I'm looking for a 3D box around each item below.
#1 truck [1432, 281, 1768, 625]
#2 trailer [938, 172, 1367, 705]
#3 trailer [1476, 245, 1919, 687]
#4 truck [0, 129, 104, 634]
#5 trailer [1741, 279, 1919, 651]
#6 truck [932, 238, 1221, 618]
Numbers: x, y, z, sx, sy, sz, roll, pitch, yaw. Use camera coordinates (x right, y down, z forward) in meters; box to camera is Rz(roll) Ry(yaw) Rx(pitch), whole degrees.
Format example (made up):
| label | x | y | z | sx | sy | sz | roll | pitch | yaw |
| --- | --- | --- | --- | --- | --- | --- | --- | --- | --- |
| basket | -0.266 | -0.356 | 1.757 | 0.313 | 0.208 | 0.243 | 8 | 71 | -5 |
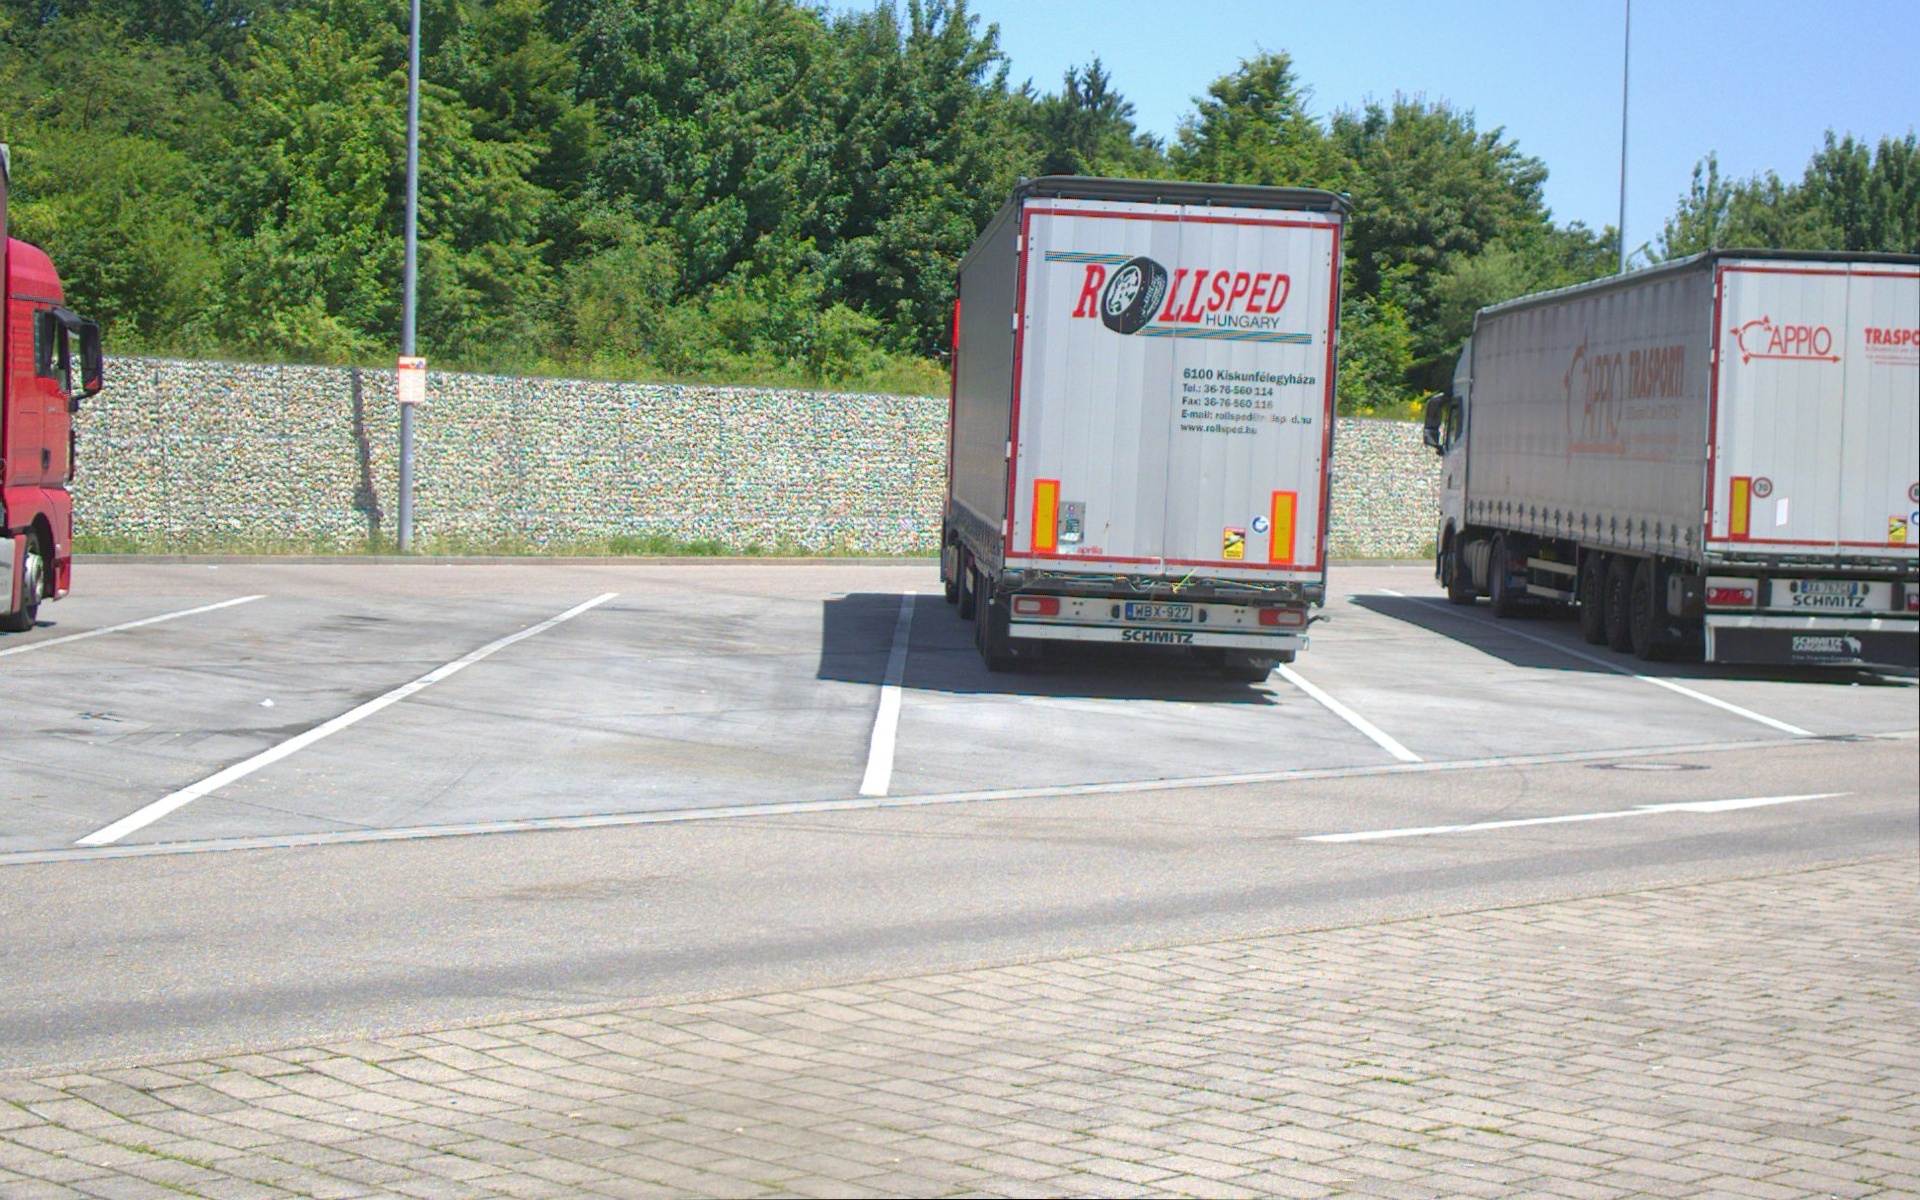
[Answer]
| label | x | y | z | sx | sy | sz | roll | pitch | yaw |
| --- | --- | --- | --- | --- | --- | --- | --- | --- | --- |
| truck | 8.123 | -1.951 | 44.594 | 2.866 | 4.023 | 6.957 | 2 | 3 | 0 |
| trailer | 1.437 | -1.636 | 33.630 | 2.866 | 4.023 | 14.243 | 2 | 3 | -2 |
| trailer | 8.182 | -1.568 | 37.967 | 2.866 | 4.023 | 12.439 | 2 | 3 | 0 |
| truck | -9.151 | -1.811 | 27.992 | 2.696 | 4.099 | 6.240 | 2 | 3 | 0 |
| trailer | 11.837 | -1.529 | 39.031 | 2.866 | 4.023 | 12.439 | 2 | 3 | 0 |
| truck | 1.226 | -2.055 | 40.709 | 2.866 | 4.023 | 7.028 | 2 | 3 | -2 |
